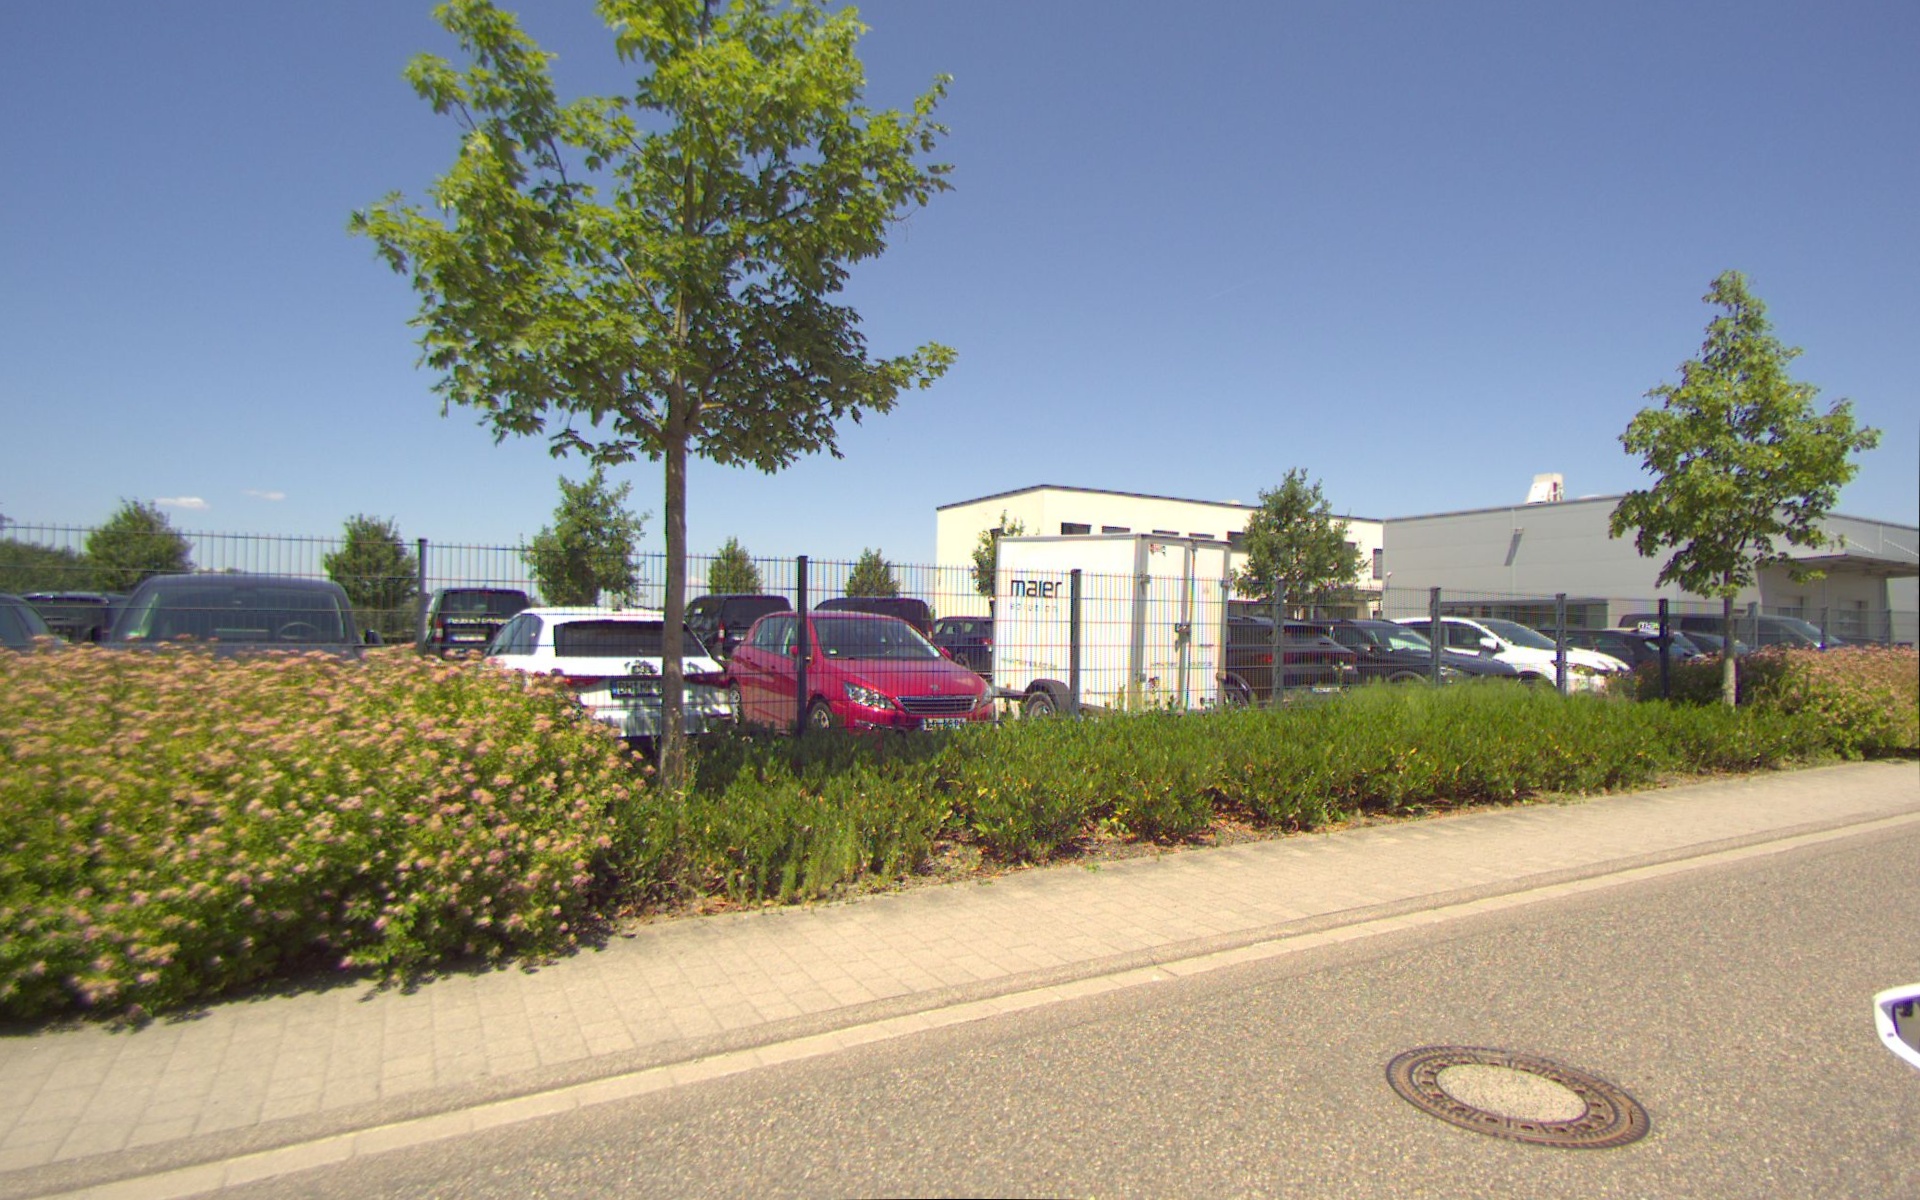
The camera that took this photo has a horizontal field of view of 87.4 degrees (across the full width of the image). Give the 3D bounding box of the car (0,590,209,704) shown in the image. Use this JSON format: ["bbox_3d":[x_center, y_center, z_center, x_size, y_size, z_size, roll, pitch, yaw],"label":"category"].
[{"bbox_3d":[-13.786,0.707,16.380,1.977,1.617,3.968,1,-1,-30],"label":"car"}]

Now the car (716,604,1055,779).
[{"bbox_3d":[-1.016,0.822,10.795,1.977,1.471,4.185,1,-1,-31],"label":"car"}]

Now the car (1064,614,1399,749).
[{"bbox_3d":[3.551,0.988,14.058,1.975,1.556,4.529,1,-1,-28],"label":"car"}]

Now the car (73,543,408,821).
[{"bbox_3d":[-5.898,0.542,8.460,1.759,1.688,4.481,2,-1,-34],"label":"car"}]

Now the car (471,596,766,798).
[{"bbox_3d":[-3.447,0.751,9.577,1.758,1.471,4.183,1,-1,-32],"label":"car"}]

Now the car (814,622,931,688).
[{"bbox_3d":[-1.989,1.174,22.256,1.476,1.311,2.997,2,-1,-30],"label":"car"}]

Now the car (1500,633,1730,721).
[{"bbox_3d":[12.896,1.454,19.957,1.882,1.518,3.355,2,-1,-30],"label":"car"}]

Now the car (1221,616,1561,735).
[{"bbox_3d":[6.488,1.049,15.743,1.975,1.556,4.713,1,-1,-28],"label":"car"}]

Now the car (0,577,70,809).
[{"bbox_3d":[-7.866,0.661,7.065,1.759,1.688,4.482,1,-1,-34],"label":"car"}]

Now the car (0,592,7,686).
[{"bbox_3d":[-16.423,0.629,15.214,1.977,1.617,3.968,1,-1,-30],"label":"car"}]

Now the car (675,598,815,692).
[{"bbox_3d":[-4.686,0.912,21.473,1.784,1.795,3.968,1,-1,-30],"label":"car"}]

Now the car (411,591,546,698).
[{"bbox_3d":[-9.246,0.790,19.116,1.977,1.795,3.968,1,-1,-30],"label":"car"}]

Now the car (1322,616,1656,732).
[{"bbox_3d":[8.664,1.117,16.951,1.975,1.650,4.713,1,-1,-28],"label":"car"}]

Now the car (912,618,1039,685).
[{"bbox_3d":[0.307,1.167,23.818,1.460,1.433,3.456,2,-1,-29],"label":"car"}]

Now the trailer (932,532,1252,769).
[{"bbox_3d":[1.417,0.506,12.278,1.708,2.391,3.965,2,0,-32],"label":"trailer"}]

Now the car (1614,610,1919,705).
[{"bbox_3d":[17.918,1.188,22.613,1.941,1.875,5.036,2,-1,-29],"label":"car"}]
